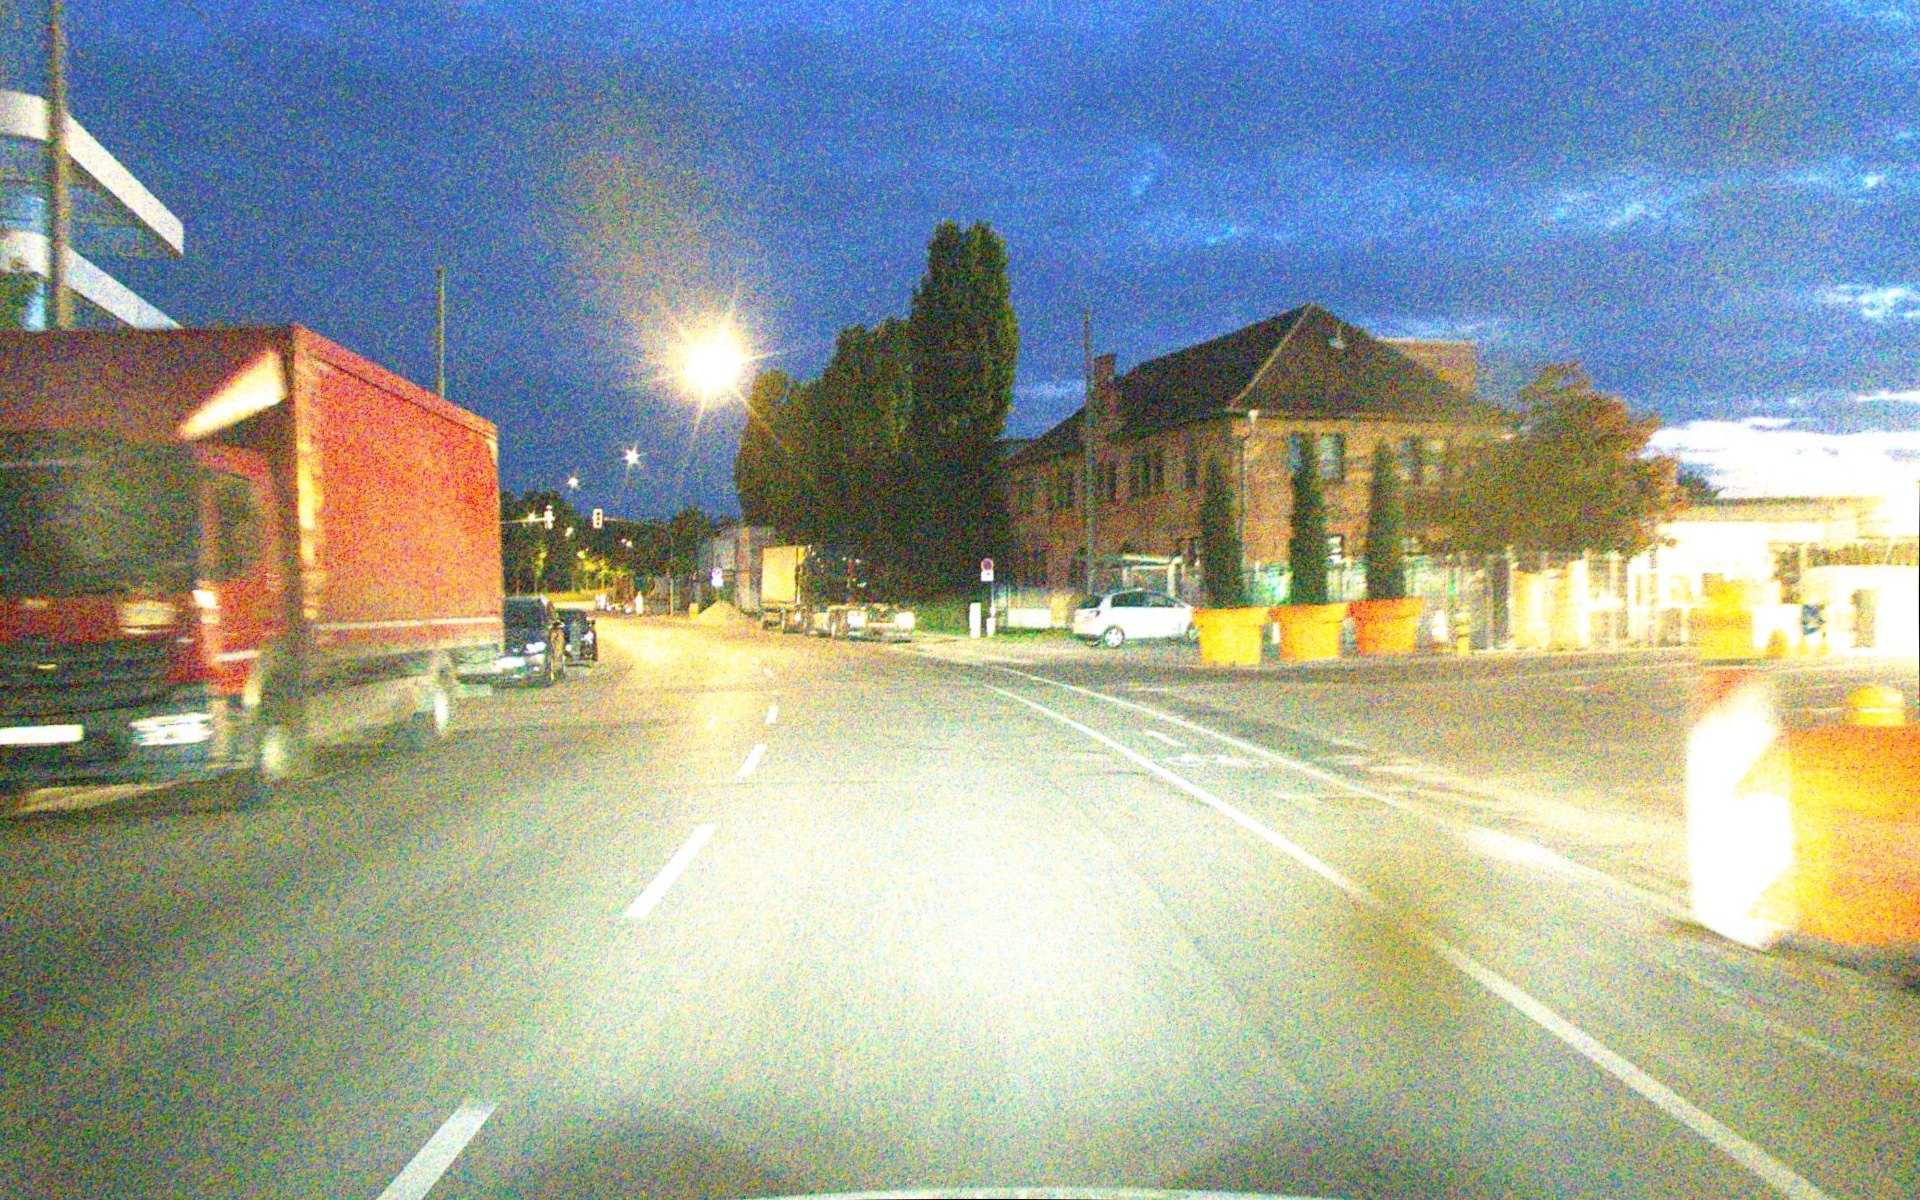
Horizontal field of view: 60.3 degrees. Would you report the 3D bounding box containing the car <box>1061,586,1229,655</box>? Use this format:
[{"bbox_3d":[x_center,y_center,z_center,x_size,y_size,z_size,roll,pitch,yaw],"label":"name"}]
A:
[{"bbox_3d":[5.170,0.536,46.371,4.261,1.675,1.882,-3,1,-19],"label":"car"}]

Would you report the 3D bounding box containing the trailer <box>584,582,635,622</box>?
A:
[{"bbox_3d":[-29.522,0.183,139.329,3.431,3.276,4.834,1,-1,-21],"label":"trailer"}]

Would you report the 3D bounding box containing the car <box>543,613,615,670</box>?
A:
[{"bbox_3d":[-10.233,1.072,44.197,1.784,1.395,4.344,0,0,-14],"label":"car"}]

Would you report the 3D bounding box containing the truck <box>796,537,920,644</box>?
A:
[{"bbox_3d":[-4.080,-0.323,63.969,2.712,3.849,9.092,0,0,-17],"label":"truck"}]

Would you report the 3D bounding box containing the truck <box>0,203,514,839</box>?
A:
[{"bbox_3d":[-6.528,-0.516,15.570,2.718,4.192,9.333,0,0,-4],"label":"truck"}]

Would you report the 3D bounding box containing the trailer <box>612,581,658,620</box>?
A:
[{"bbox_3d":[-24.742,0.078,125.816,2.576,2.895,4.679,1,-1,-21],"label":"trailer"}]

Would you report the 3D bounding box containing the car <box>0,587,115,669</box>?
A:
[{"bbox_3d":[-18.511,0.515,31.067,4.329,1.508,1.885,0,0,-14],"label":"car"}]

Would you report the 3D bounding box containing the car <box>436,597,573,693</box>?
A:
[{"bbox_3d":[-8.212,0.757,30.193,1.831,1.621,4.486,0,0,-8],"label":"car"}]

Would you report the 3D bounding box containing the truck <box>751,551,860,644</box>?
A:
[{"bbox_3d":[-7.011,-0.094,73.595,2.712,3.849,10.173,0,0,-18],"label":"truck"}]
